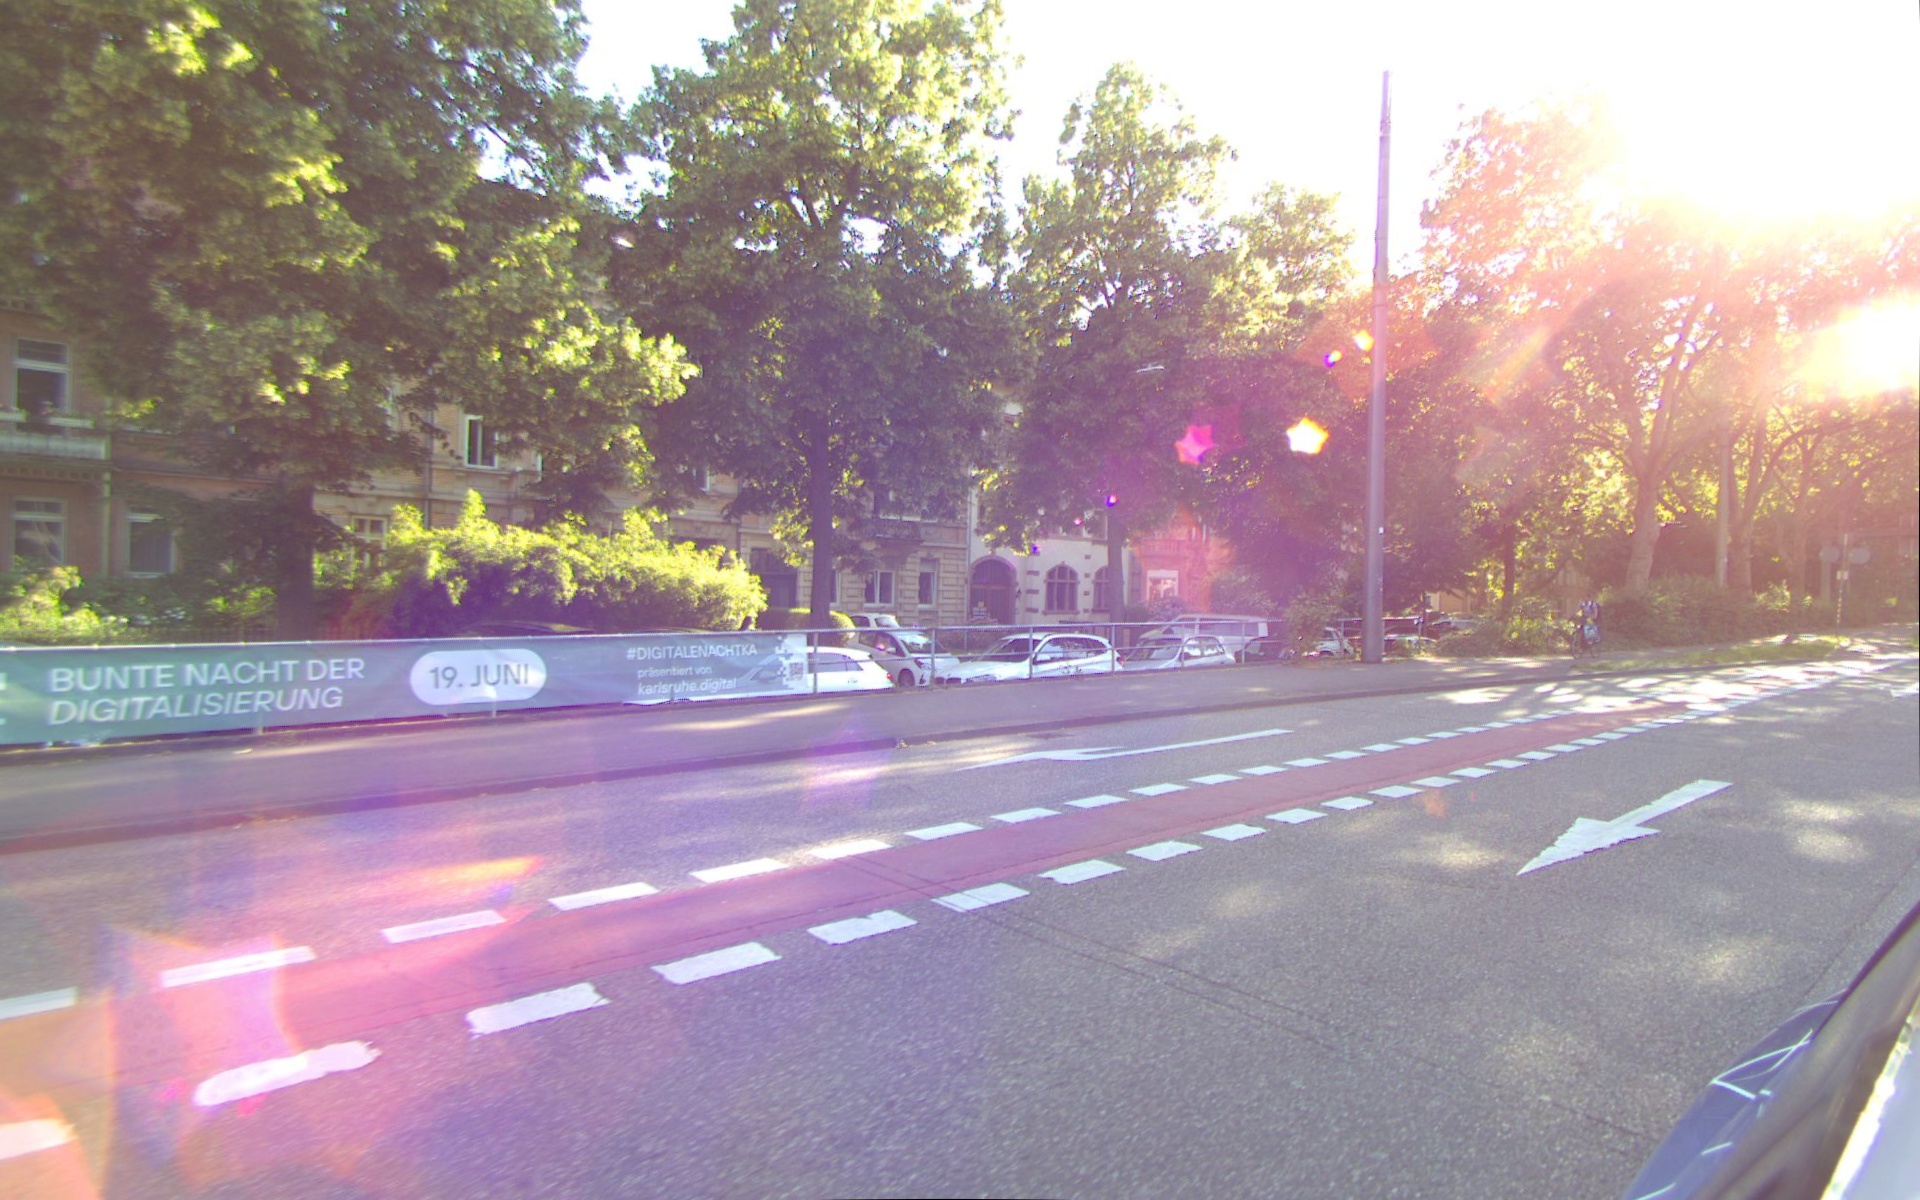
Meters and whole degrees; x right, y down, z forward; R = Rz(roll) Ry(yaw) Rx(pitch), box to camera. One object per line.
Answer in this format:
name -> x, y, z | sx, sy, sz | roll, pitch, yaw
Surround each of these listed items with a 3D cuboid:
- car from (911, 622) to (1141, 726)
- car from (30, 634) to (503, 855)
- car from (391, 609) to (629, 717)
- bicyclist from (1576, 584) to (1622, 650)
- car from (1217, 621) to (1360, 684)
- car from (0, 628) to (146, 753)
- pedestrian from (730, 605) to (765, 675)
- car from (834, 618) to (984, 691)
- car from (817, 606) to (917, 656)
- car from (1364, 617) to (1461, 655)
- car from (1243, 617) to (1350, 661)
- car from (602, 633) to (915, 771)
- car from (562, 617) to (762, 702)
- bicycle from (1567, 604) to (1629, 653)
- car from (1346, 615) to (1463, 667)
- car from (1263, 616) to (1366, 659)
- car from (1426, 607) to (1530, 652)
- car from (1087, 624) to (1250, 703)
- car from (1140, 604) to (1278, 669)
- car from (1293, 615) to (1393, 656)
car -> 1.358, 1.318, 19.475 | 4.474, 1.598, 1.797 | -1, 1, -41
car -> -7.663, 1.402, 11.491 | 1.793, 1.825, 4.147 | 0, 1, 42
car -> -8.731, 1.158, 19.758 | 3.939, 1.756, 1.793 | 2, 1, 13
bicyclist -> 15.330, 0.396, 24.279 | 0.639, 1.532, 0.767 | 0, 1, -41
car -> 8.481, 1.285, 26.002 | 3.932, 1.325, 1.796 | -1, 1, -42
car -> -14.424, 1.209, 14.714 | 4.190, 1.424, 1.955 | 2, 1, 16
pedestrian -> -5.543, 1.033, 26.384 | 0.621, 1.768, 0.648 | 0, 1, -45
car -> -1.388, 1.341, 26.268 | 1.769, 1.532, 3.994 | 1, 1, -42
car -> -3.358, 1.073, 36.285 | 1.770, 1.541, 3.570 | 0, 2, -43
car -> 21.378, 1.664, 48.005 | 3.947, 1.529, 1.790 | 2, 1, 18
car -> 13.262, 1.518, 40.080 | 3.871, 1.470, 1.680 | 2, 1, 17
car -> -2.955, 1.417, 15.430 | 4.366, 1.598, 1.797 | -1, 1, -41
car -> -6.574, 1.247, 22.363 | 3.951, 1.532, 1.788 | 2, 1, 21
bicycle -> 15.317, 0.663, 24.284 | 1.769, 1.121, 0.767 | 0, 1, -41
car -> 13.385, 1.174, 30.395 | 3.932, 1.325, 1.796 | -1, 1, -42
car -> 14.814, 1.542, 42.514 | 3.947, 1.529, 1.790 | 2, 1, 18
car -> 26.388, 1.472, 51.708 | 4.408, 2.039, 1.984 | 2, 1, 20
car -> 4.650, 1.327, 22.365 | 3.516, 1.459, 1.796 | -1, 1, -42
car -> 8.880, 1.263, 36.133 | 4.620, 1.990, 1.862 | 2, 1, 18
car -> 16.846, 1.554, 44.717 | 3.947, 1.529, 1.790 | 2, 1, 18
